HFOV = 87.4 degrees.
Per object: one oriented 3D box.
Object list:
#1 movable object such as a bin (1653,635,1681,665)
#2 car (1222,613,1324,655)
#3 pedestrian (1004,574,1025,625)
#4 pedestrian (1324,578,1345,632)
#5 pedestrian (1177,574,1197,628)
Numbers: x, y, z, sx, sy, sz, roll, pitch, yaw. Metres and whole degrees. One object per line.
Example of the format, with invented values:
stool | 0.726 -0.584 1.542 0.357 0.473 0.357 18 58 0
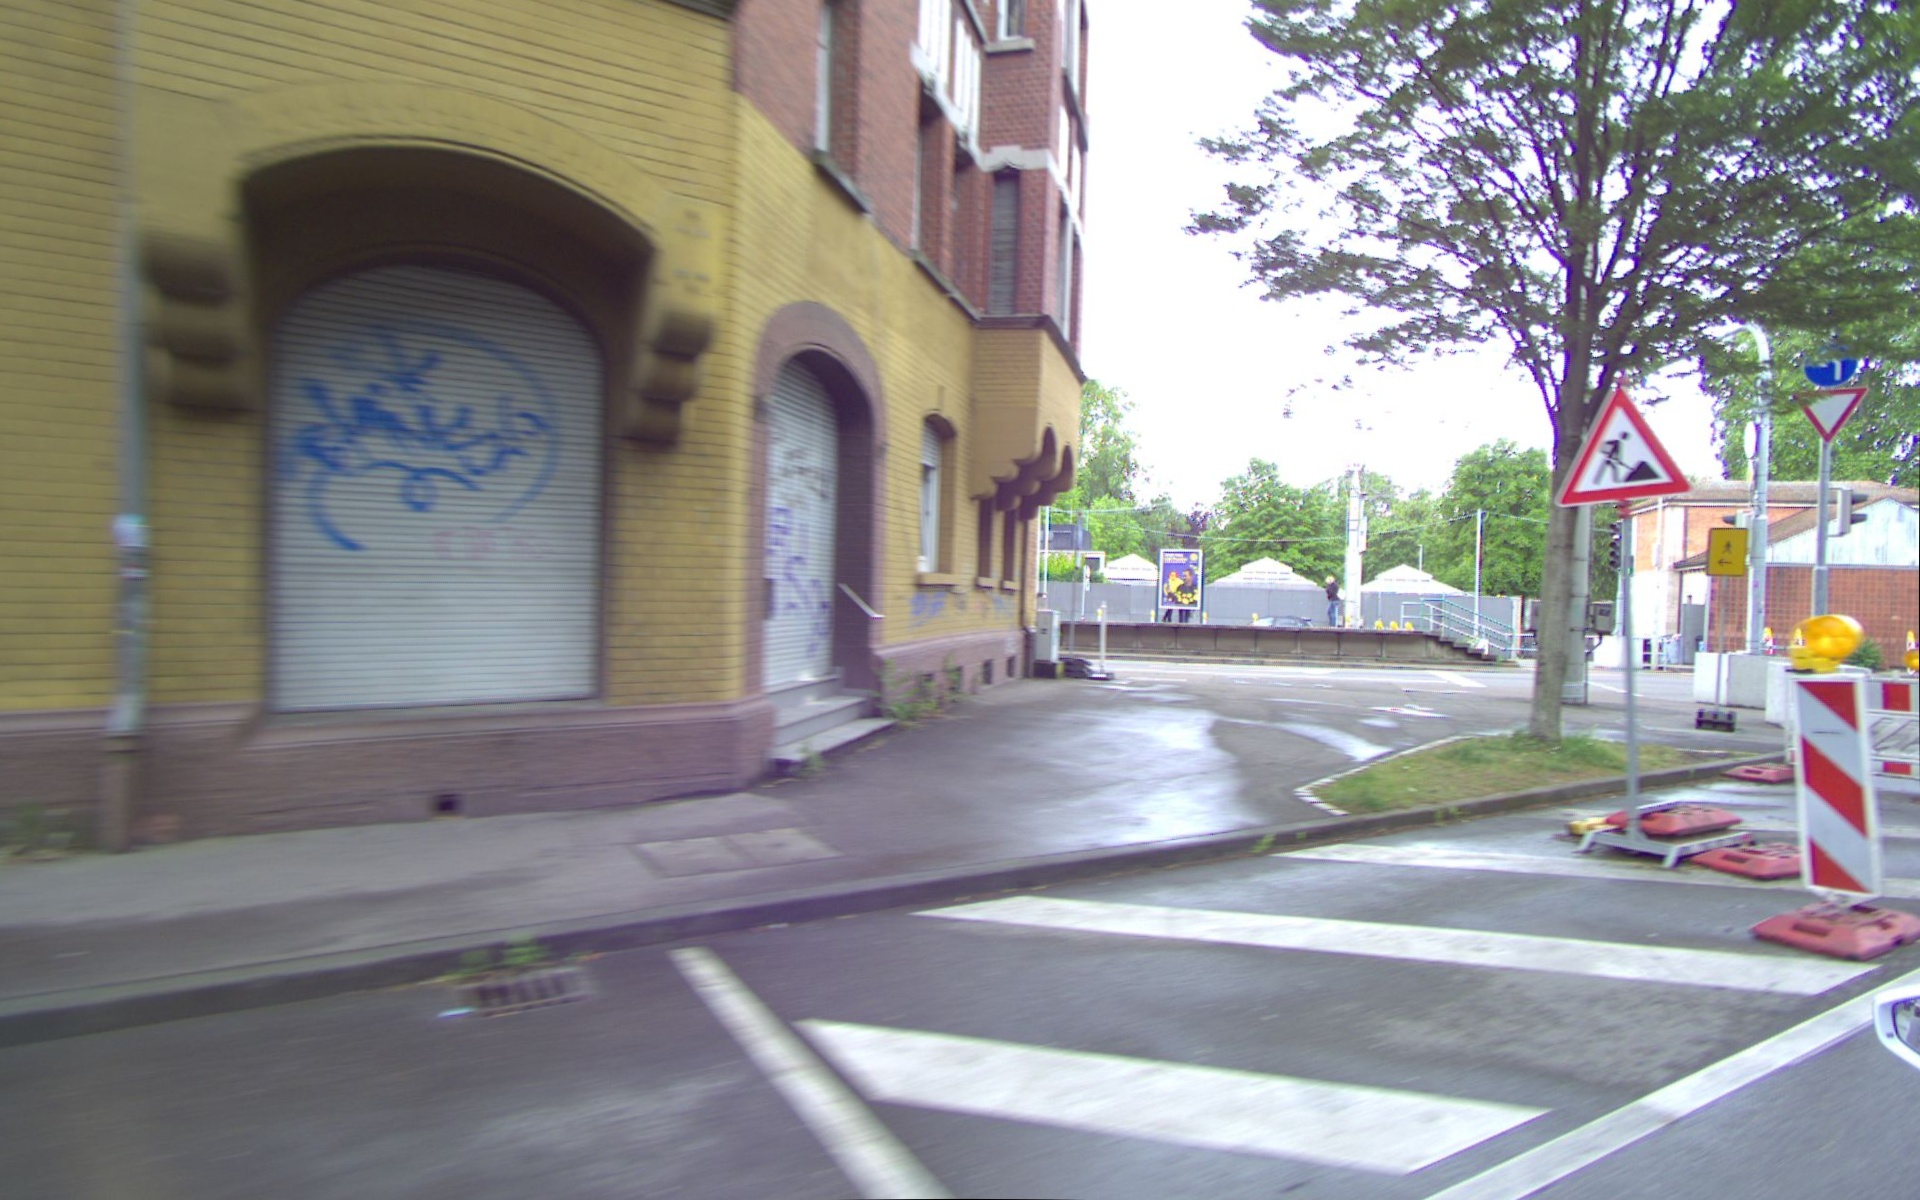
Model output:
movable object such as a bin | 32.453 2.280 46.115 0.834 1.358 0.801 1 -2 18
car | 12.924 1.409 41.624 3.919 1.572 1.758 2 -2 16
pedestrian | 1.881 -0.009 34.663 0.530 1.699 0.779 1 -1 15
pedestrian | 11.368 0.153 30.511 0.515 1.631 0.599 1 -1 15
pedestrian | 7.344 0.033 32.482 0.586 1.722 0.459 1 -1 15
